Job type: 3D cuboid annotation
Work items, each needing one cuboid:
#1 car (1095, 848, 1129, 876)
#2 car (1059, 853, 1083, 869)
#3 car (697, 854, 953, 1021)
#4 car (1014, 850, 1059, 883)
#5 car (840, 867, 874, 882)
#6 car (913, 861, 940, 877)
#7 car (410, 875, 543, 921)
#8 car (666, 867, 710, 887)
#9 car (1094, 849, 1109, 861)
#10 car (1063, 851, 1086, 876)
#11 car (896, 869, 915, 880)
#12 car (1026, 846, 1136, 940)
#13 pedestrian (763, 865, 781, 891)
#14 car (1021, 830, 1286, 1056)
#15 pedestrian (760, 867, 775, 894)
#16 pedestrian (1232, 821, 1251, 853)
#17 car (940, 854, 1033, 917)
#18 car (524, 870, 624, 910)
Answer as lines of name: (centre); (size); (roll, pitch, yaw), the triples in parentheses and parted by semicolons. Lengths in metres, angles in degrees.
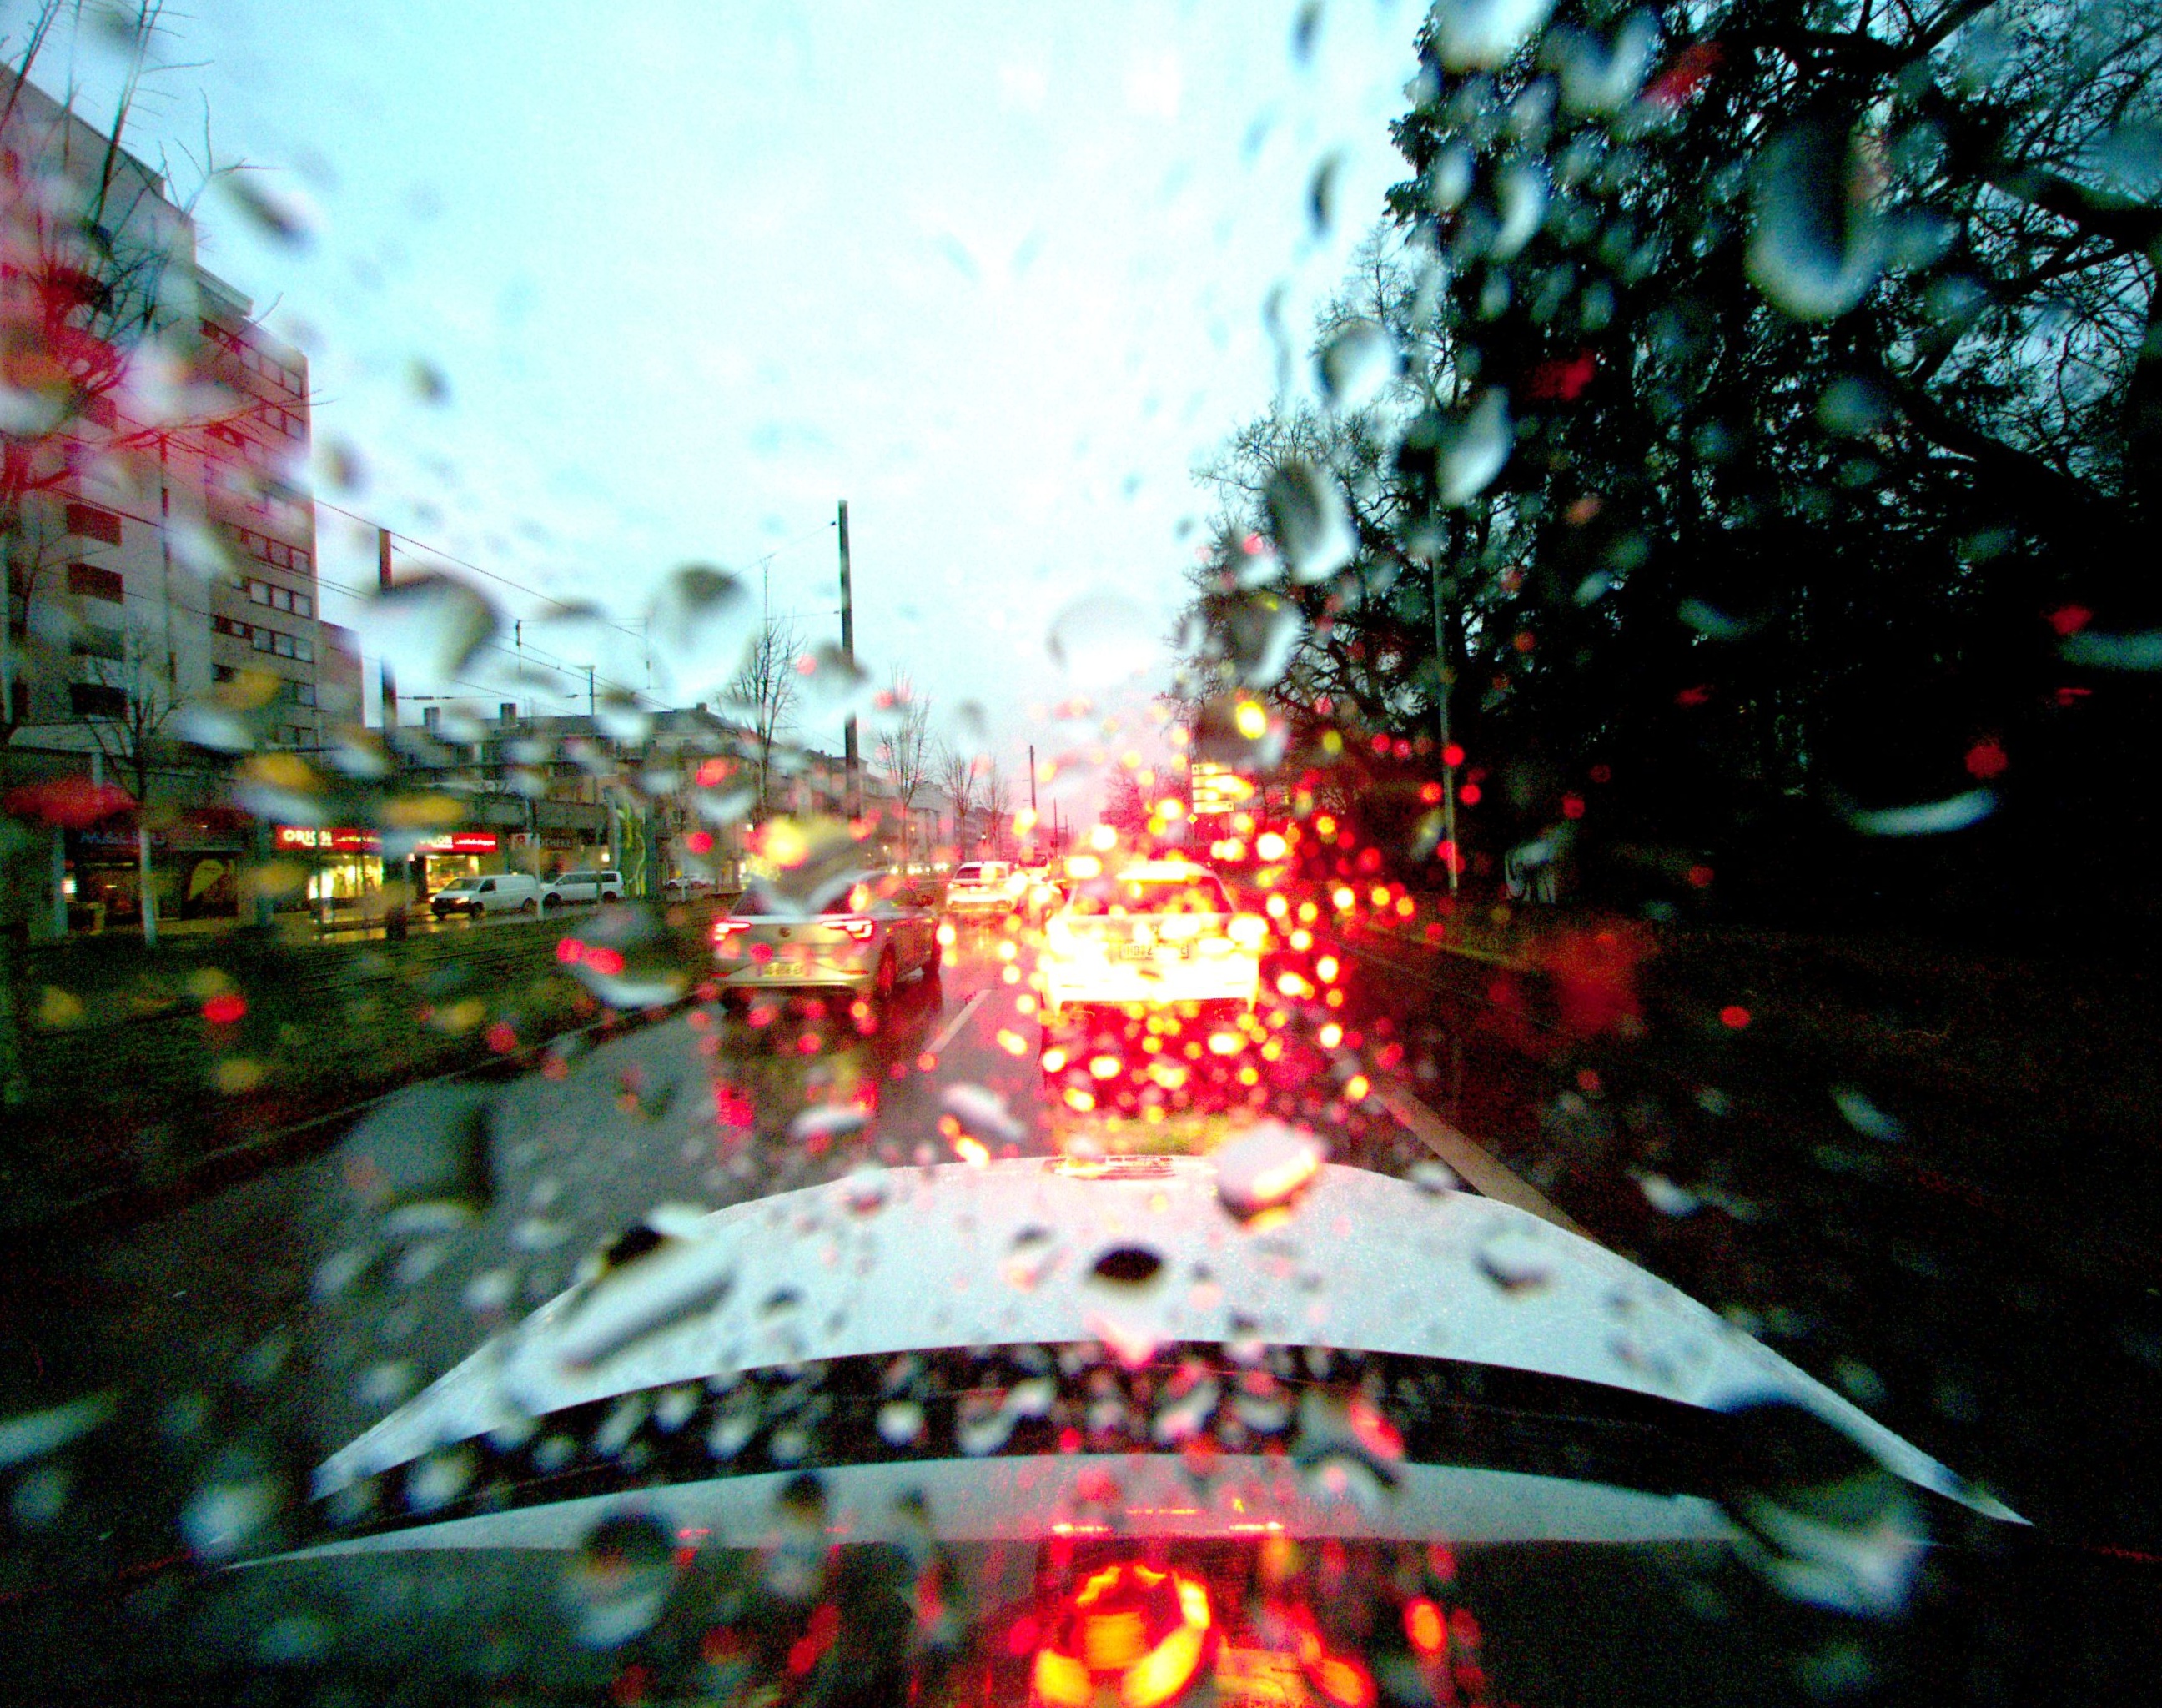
car: (1.660, 0.415, 44.283); (1.731, 1.419, 3.704); (-3, 0, 2)
car: (-0.815, 0.608, 68.652); (1.923, 1.288, 4.001); (0, -1, 1)
car: (-2.729, 0.782, 9.664); (1.687, 1.533, 4.000); (-1, 0, 1)
car: (-2.069, 0.570, 38.813); (1.731, 1.419, 4.395); (-3, 0, 2)
car: (-20.604, 1.891, 75.137); (1.852, 1.332, 4.316); (0, -1, 1)
car: (-16.140, 1.564, 85.121); (1.987, 1.602, 4.000); (0, -1, 1)
car: (-29.711, 2.109, 40.315); (1.983, 2.046, 5.575); (0, -1, 6)
car: (-40.695, 2.364, 84.368); (3.744, 1.942, 1.838); (0, -1, -7)
car: (2.568, 0.097, 102.184); (1.731, 1.419, 4.147); (-3, 0, 2)
car: (-0.470, 0.666, 56.033); (1.501, 1.653, 2.843); (0, -1, -2)
car: (-21.453, 2.467, 99.678); (1.688, 1.277, 4.141); (-2, 0, -4)
car: (0.058, 0.661, 15.596); (1.793, 1.511, 3.897); (-2, 0, 2)
pedestrian: (-25.210, 1.957, 66.354); (1.274, 2.013, 1.000); (-2, 0, -23)
car: (0.602, 0.640, 8.361); (1.855, 1.556, 4.940); (-3, 0, 2)
pedestrian: (-24.466, 2.038, 63.578); (0.961, 2.013, 1.001); (-2, 0, -18)
pedestrian: (10.136, -1.064, 51.409); (0.955, 2.013, 1.008); (-2, 0, 3)
car: (-2.446, 0.775, 22.211); (1.792, 1.466, 4.587); (-3, 0, 2)
car: (-30.711, 2.116, 49.419); (4.859, 2.244, 1.975); (0, -1, -44)
